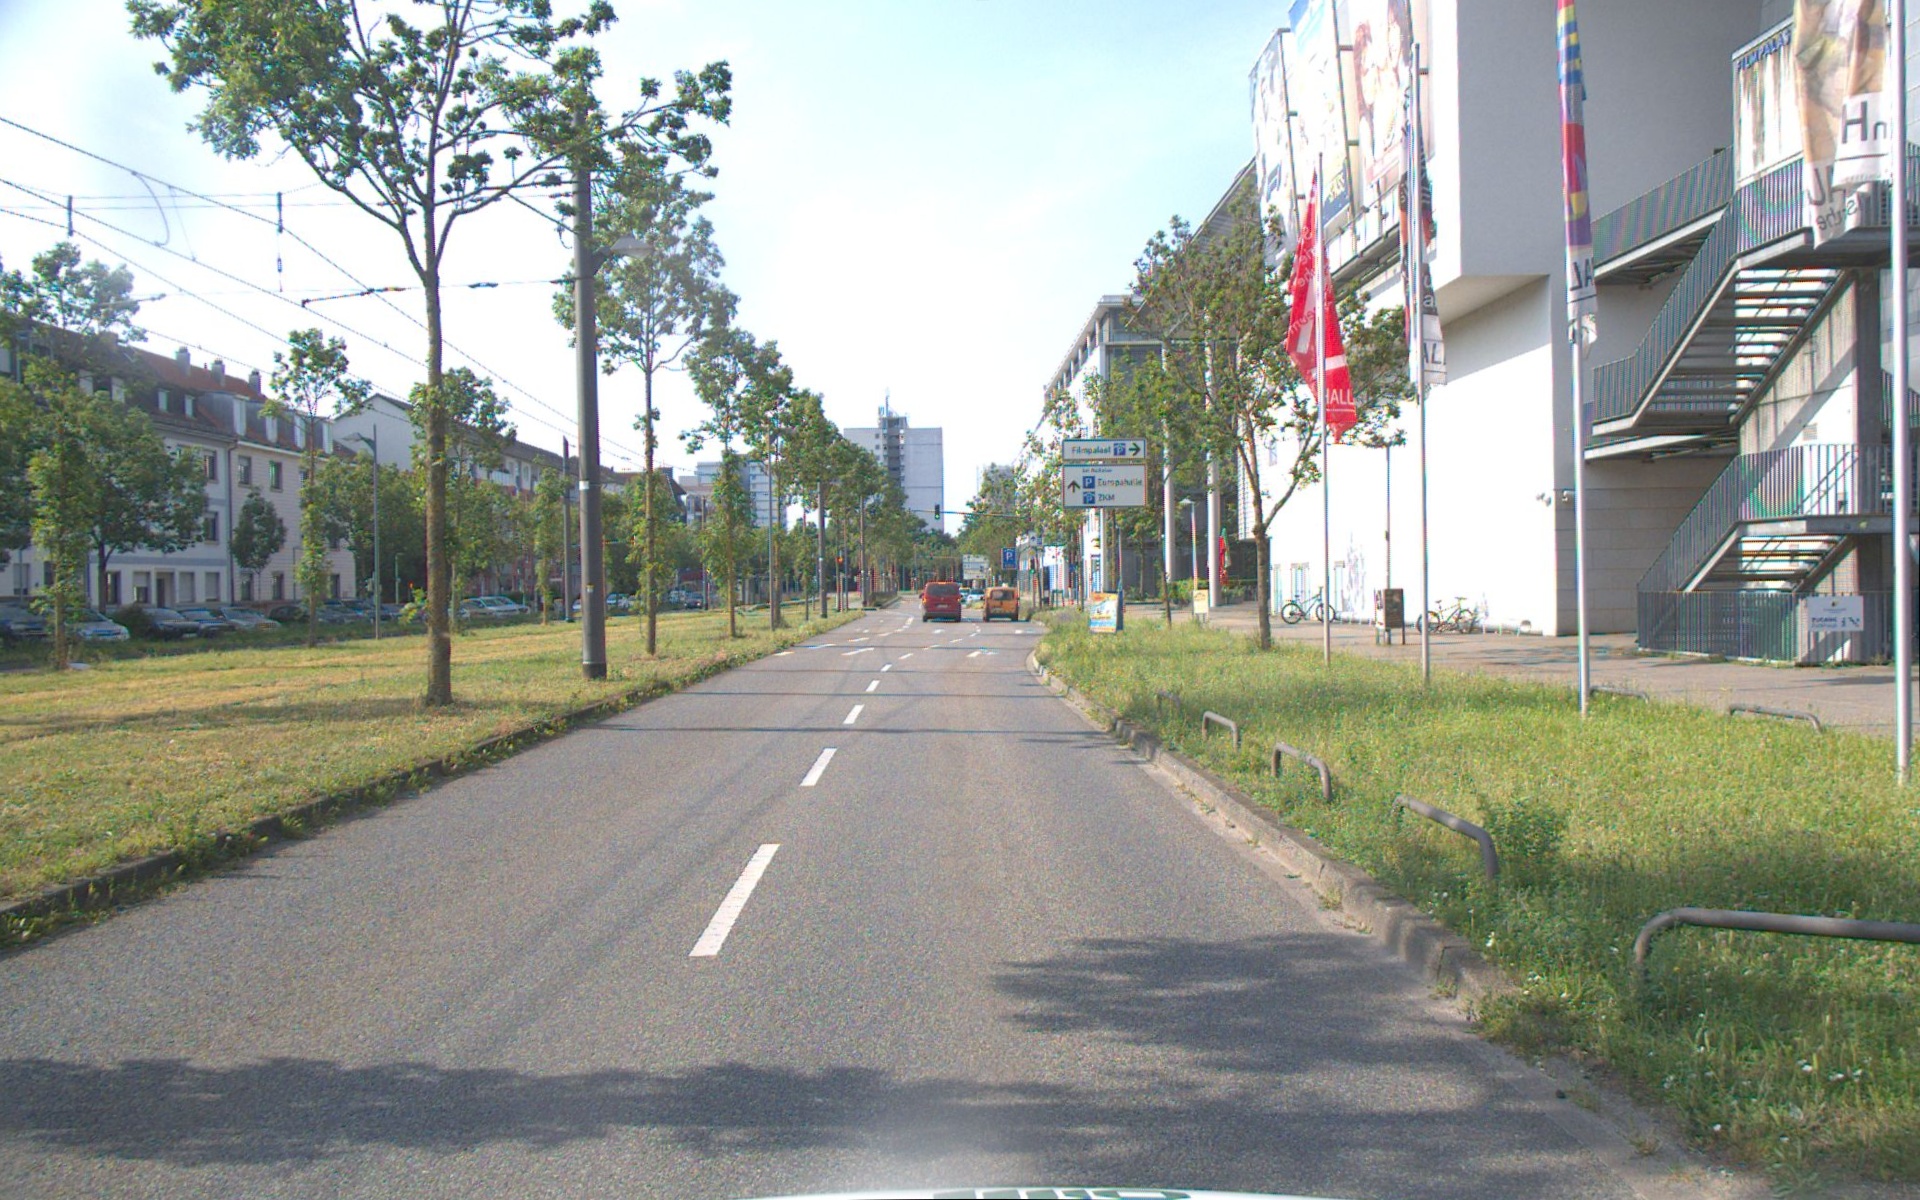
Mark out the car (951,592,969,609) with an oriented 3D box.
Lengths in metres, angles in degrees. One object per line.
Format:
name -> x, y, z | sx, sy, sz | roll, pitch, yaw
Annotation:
car -> -0.046, 0.013, 162.996 | 1.655, 1.552, 3.850 | -3, 0, -1

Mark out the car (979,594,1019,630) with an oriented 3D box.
car -> 1.938, 0.592, 83.277 | 1.837, 1.726, 3.973 | -1, 0, -1

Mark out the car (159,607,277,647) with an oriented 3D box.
car -> -27.436, 0.995, 61.162 | 3.908, 1.400, 1.925 | 0, 0, 26

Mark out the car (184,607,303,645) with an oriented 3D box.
car -> -28.233, 1.006, 65.203 | 4.240, 1.400, 1.999 | 0, 0, 25

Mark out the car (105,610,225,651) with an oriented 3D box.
car -> -28.335, 1.062, 58.926 | 3.908, 1.400, 1.834 | 0, 0, 26

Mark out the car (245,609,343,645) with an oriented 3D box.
car -> -27.220, 1.107, 67.606 | 3.693, 1.400, 1.663 | 0, 0, 25

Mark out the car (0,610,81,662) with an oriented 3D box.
car -> -27.472, 1.024, 48.248 | 3.642, 1.459, 1.638 | 0, 0, 32

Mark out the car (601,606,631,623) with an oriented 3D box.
car -> -31.833, 1.332, 153.301 | 1.941, 1.583, 4.535 | 1, 0, -2

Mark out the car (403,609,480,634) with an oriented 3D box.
car -> -28.385, 1.172, 90.549 | 3.911, 1.292, 1.883 | 0, 0, 29

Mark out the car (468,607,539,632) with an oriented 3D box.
car -> -28.701, 1.197, 104.012 | 4.261, 1.489, 1.958 | 0, 0, 32

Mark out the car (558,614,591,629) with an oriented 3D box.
car -> -31.263, 1.768, 134.112 | 1.796, 1.168, 4.163 | 1, 0, -2

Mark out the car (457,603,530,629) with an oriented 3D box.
car -> -28.344, 0.978, 100.397 | 4.374, 1.541, 1.993 | -1, 1, 36

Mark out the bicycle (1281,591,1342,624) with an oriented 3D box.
bicycle -> 12.315, 0.267, 57.993 | 1.966, 1.122, 0.676 | -1, 0, 3

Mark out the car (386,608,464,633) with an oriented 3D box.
car -> -28.446, 1.085, 87.923 | 3.915, 1.280, 1.871 | 0, 0, 32

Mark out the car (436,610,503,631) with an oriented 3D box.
car -> -29.022, 1.215, 97.913 | 3.925, 1.199, 1.990 | 0, 0, 40

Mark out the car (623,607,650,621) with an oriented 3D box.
car -> -31.848, 1.375, 163.021 | 1.941, 1.384, 4.067 | 1, 0, -2

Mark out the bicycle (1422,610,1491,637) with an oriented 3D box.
bicycle -> 12.794, 0.596, 42.642 | 1.623, 0.656, 0.538 | -1, 0, -1

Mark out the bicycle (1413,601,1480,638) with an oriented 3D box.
bicycle -> 12.761, 0.515, 43.391 | 1.623, 0.931, 0.482 | -1, 0, -1

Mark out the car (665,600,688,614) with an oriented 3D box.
car -> -32.420, 0.800, 189.170 | 1.941, 1.540, 4.279 | 1, 0, -2

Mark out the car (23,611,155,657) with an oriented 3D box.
car -> -27.346, 1.032, 51.892 | 4.305, 1.343, 1.730 | 0, 0, 32

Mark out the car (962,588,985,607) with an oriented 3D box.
car -> 1.078, -0.231, 136.840 | 1.686, 1.545, 3.780 | -1, 0, -2

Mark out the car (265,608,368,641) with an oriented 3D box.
car -> -27.799, 1.055, 71.439 | 3.907, 1.310, 1.999 | -1, 1, 25

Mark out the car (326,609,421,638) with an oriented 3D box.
car -> -27.507, 1.094, 77.535 | 3.967, 1.311, 1.998 | 0, 0, 26

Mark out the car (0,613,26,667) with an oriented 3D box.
car -> -27.781, 1.075, 45.802 | 3.917, 1.445, 1.776 | 0, 0, 34

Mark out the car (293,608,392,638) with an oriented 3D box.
car -> -27.966, 1.028, 74.911 | 3.907, 1.311, 1.999 | 0, 0, 25

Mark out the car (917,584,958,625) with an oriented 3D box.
car -> -1.116, 0.196, 79.790 | 1.837, 1.886, 3.998 | -1, 0, -2

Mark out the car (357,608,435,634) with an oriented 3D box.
car -> -28.653, 1.045, 83.981 | 3.915, 1.256, 1.695 | 0, 0, 32
